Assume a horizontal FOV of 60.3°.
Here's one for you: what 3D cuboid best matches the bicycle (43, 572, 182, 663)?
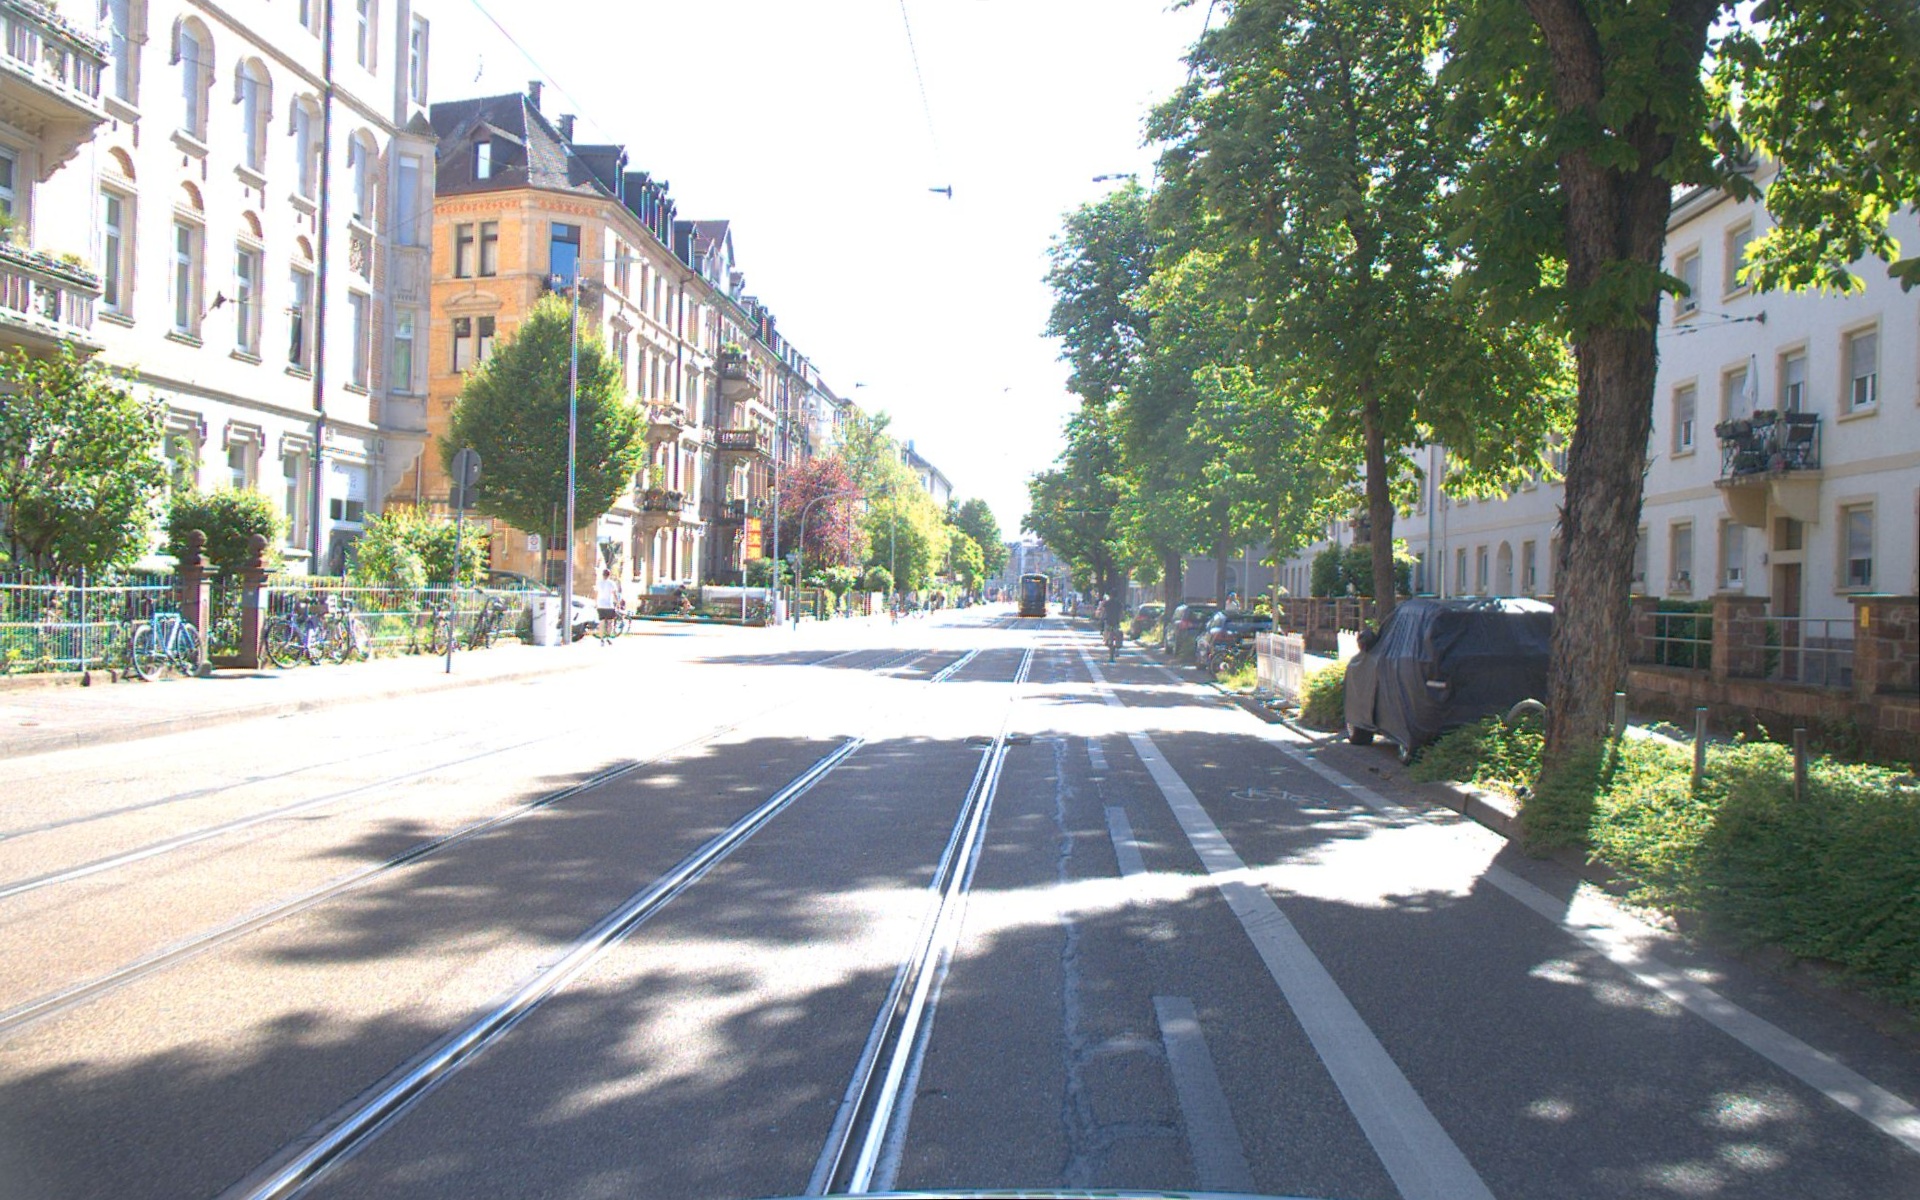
[{"bbox_3d":[-11.322,0.229,22.119,1.542,1.051,0.479,5,0,2],"label":"bicycle"}]

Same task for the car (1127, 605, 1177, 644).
[{"bbox_3d":[7.881,0.970,68.126,1.750,1.489,4.046,1,0,3],"label":"car"}]

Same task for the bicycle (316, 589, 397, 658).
[{"bbox_3d":[-9.699,0.359,26.643,0.551,1.051,1.768,3,1,2],"label":"bicycle"}]

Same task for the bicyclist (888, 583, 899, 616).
[{"bbox_3d":[-3.351,-0.023,83.459,0.454,1.647,0.745,0,0,3],"label":"bicyclist"}]

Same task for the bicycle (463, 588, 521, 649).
[{"bbox_3d":[-9.084,0.352,32.050,0.558,1.051,1.748,2,2,-33],"label":"bicycle"}]

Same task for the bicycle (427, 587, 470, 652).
[{"bbox_3d":[-9.499,0.344,30.660,0.555,1.051,1.757,6,1,-21],"label":"bicycle"}]

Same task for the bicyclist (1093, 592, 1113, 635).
[{"bbox_3d":[5.139,0.486,59.613,0.622,1.493,0.616,3,0,3],"label":"bicyclist"}]

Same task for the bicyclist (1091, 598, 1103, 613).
[{"bbox_3d":[11.789,0.472,142.434,0.756,1.313,0.733,3,0,19],"label":"bicyclist"}]

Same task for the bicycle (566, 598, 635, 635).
[{"bbox_3d":[-9.985,0.462,45.986,1.766,0.930,0.614,3,-2,-33],"label":"bicycle"}]

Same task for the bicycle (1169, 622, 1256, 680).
[{"bbox_3d":[5.297,1.072,34.727,1.725,1.096,0.434,3,0,4],"label":"bicycle"}]

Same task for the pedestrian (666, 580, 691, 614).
[{"bbox_3d":[-11.402,-0.136,66.941,0.882,1.376,0.577,0,0,4],"label":"pedestrian"}]

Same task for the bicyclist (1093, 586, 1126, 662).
[{"bbox_3d":[3.813,0.599,42.180,0.712,1.880,0.837,3,0,2],"label":"bicyclist"}]

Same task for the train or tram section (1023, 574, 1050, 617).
[{"bbox_3d":[6.627,-0.381,143.807,2.109,3.491,6.613,3,0,3],"label":"train or tram section"}]

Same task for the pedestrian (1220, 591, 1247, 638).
[{"bbox_3d":[10.550,0.548,63.789,0.749,1.754,0.578,3,0,32],"label":"pedestrian"}]

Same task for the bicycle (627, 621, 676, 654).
[{"bbox_3d":[-9.210,1.127,49.427,1.278,0.930,0.614,3,-2,-33],"label":"bicycle"}]

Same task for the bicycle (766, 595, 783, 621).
[{"bbox_3d":[-7.579,0.324,67.587,0.328,1.018,1.870,3,0,3],"label":"bicycle"}]

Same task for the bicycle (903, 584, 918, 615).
[{"bbox_3d":[-3.125,-0.051,104.903,0.649,1.891,2.261,3,0,4],"label":"bicycle"}]

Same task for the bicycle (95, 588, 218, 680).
[{"bbox_3d":[-10.105,0.402,20.865,0.551,1.051,1.768,3,1,3],"label":"bicycle"}]

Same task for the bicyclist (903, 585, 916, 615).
[{"bbox_3d":[-3.200,0.010,104.319,0.632,1.827,0.956,3,0,3],"label":"bicyclist"}]

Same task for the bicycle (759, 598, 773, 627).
[{"bbox_3d":[-7.739,0.493,66.018,0.363,1.146,0.809,3,0,3],"label":"bicycle"}]

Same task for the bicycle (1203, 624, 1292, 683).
[{"bbox_3d":[5.942,1.095,34.204,1.725,1.096,0.434,3,0,4],"label":"bicycle"}]

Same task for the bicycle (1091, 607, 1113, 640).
[{"bbox_3d":[5.100,0.838,59.576,0.677,1.132,1.918,3,0,3],"label":"bicycle"}]

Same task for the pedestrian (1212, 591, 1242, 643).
[{"bbox_3d":[9.349,0.588,57.992,0.592,1.802,0.905,-1,0,-27],"label":"pedestrian"}]

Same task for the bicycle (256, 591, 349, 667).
[{"bbox_3d":[-9.769,0.418,24.635,0.551,1.051,1.768,3,1,2],"label":"bicycle"}]

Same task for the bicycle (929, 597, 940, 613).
[{"bbox_3d":[-1.805,0.370,117.297,0.677,1.132,1.719,0,0,3],"label":"bicycle"}]

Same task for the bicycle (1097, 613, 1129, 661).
[{"bbox_3d":[3.897,0.936,42.210,0.677,1.132,1.719,3,0,3],"label":"bicycle"}]

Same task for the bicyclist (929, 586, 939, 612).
[{"bbox_3d":[-1.817,-0.041,117.224,0.646,1.833,0.616,0,-1,3],"label":"bicyclist"}]

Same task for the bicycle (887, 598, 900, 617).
[{"bbox_3d":[-3.358,0.353,83.476,0.450,0.942,2.203,0,0,3],"label":"bicycle"}]

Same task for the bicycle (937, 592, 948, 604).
[{"bbox_3d":[-1.737,-0.175,159.757,0.622,1.087,1.825,3,0,-13],"label":"bicycle"}]

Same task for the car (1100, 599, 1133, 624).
[{"bbox_3d":[9.827,0.720,103.800,1.595,1.461,4.665,1,0,0],"label":"car"}]

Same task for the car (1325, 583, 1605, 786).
[{"bbox_3d":[5.210,0.775,17.692,1.707,1.796,4.479,3,0,2],"label":"car"}]

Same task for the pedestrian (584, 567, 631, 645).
[{"bbox_3d":[-8.237,0.135,38.683,0.813,1.753,1.081,3,-1,-4],"label":"pedestrian"}]

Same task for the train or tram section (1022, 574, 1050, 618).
[{"bbox_3d":[6.308,-0.345,137.172,2.109,3.491,6.613,3,0,3],"label":"train or tram section"}]

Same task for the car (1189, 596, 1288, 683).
[{"bbox_3d":[6.298,0.848,37.762,1.631,1.791,4.232,2,0,2],"label":"car"}]

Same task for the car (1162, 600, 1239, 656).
[{"bbox_3d":[6.881,0.769,47.683,1.684,1.499,4.247,1,0,2],"label":"car"}]
